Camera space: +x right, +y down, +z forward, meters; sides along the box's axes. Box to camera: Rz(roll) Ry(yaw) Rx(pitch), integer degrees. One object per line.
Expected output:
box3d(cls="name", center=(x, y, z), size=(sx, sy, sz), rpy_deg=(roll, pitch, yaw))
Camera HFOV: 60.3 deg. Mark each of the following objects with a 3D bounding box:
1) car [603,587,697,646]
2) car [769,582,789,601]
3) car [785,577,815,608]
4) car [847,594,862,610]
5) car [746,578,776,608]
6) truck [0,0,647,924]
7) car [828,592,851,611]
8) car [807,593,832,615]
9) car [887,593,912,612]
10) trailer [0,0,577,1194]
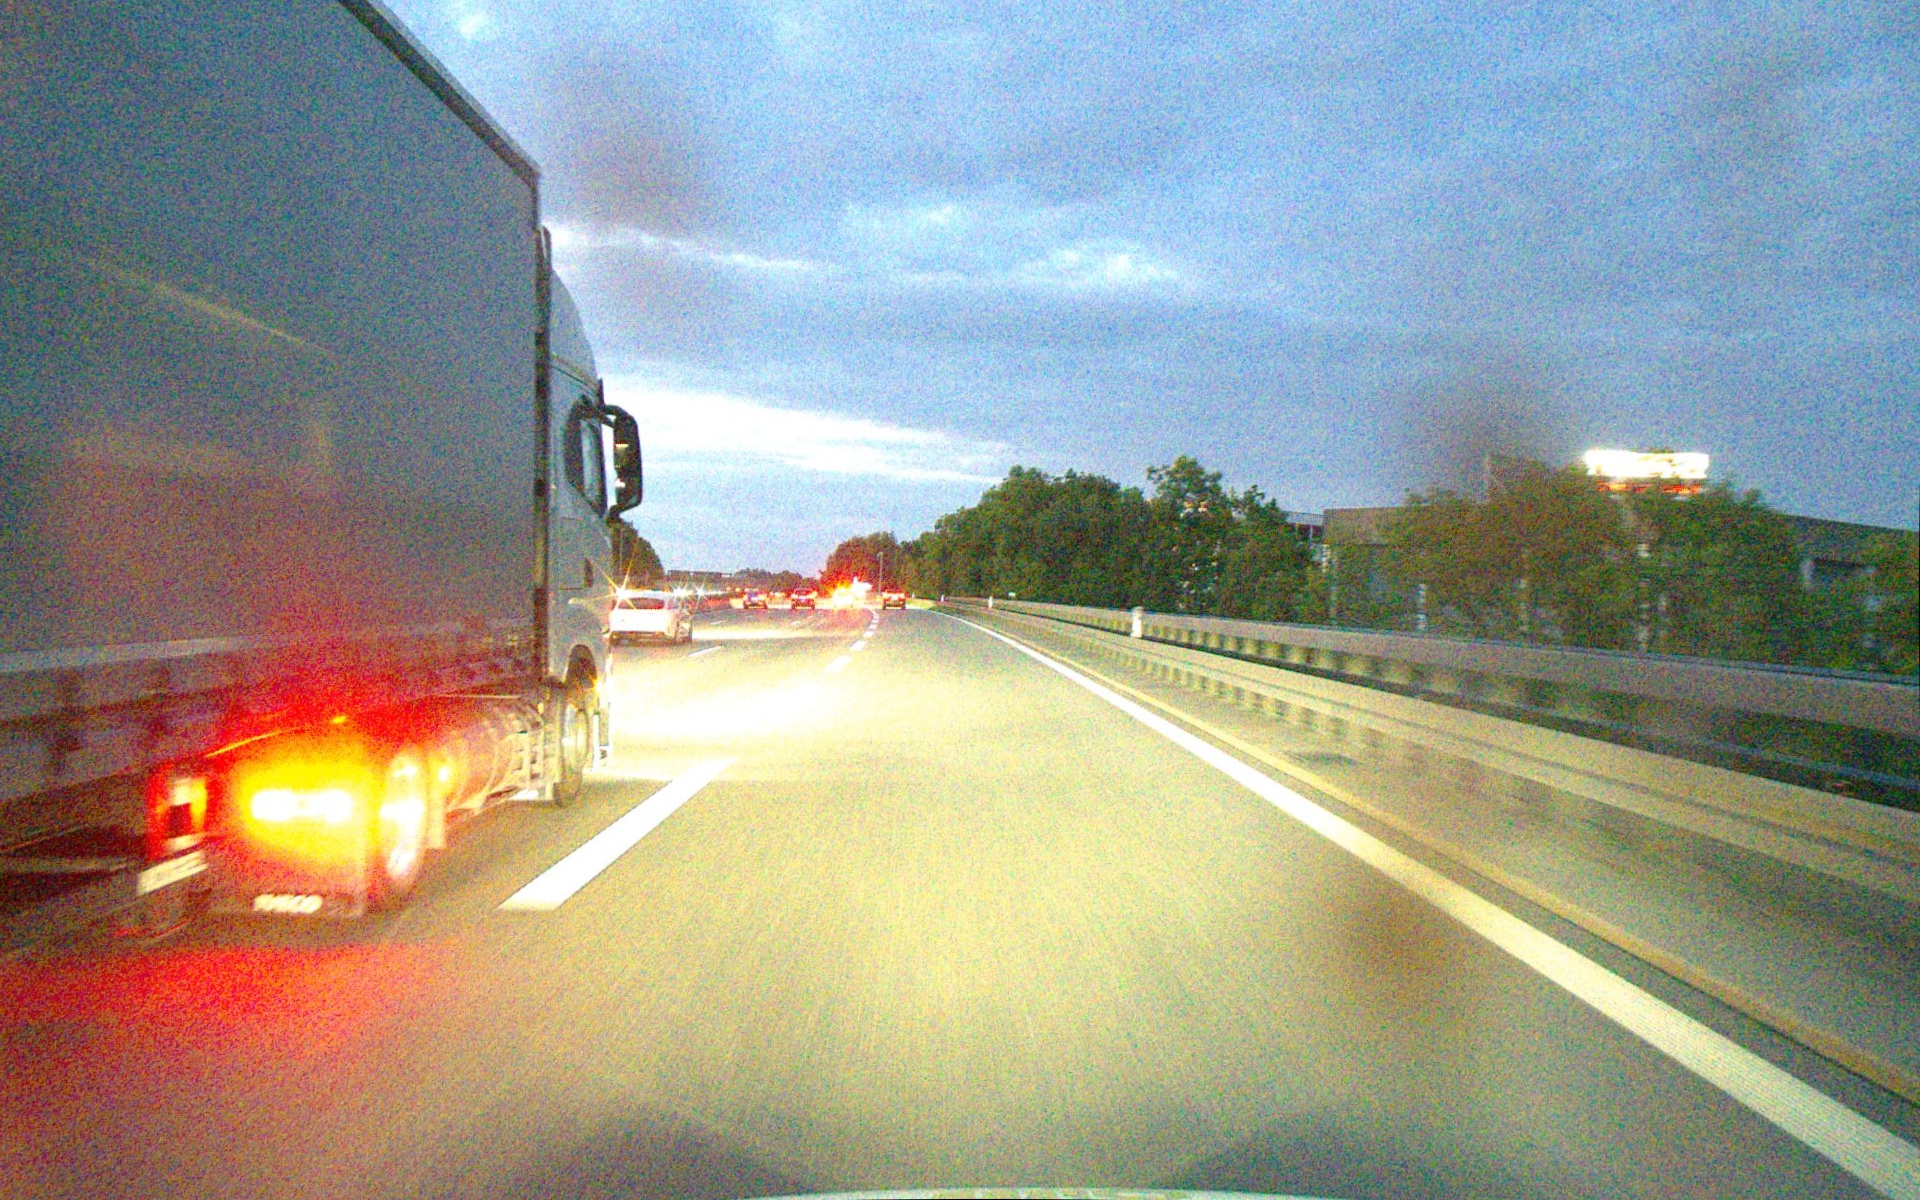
box3d(cls="car", center=(-8.587, 0.444, 46.131), size=(1.861, 1.521, 4.149), rpy_deg=(2, 0, -1))
box3d(cls="car", center=(-21.895, -1.033, 200.093), size=(1.953, 2.049, 3.999), rpy_deg=(2, -3, 0))
box3d(cls="car", center=(-12.445, -0.568, 128.818), size=(1.953, 2.116, 3.998), rpy_deg=(2, -3, -1))
box3d(cls="car", center=(-15.477, 0.280, 242.009), size=(1.953, 2.049, 3.998), rpy_deg=(2, -3, -1))
box3d(cls="car", center=(-15.729, -0.548, 130.897), size=(1.953, 2.083, 3.998), rpy_deg=(2, -3, -1))
box3d(cls="truck", center=(-4.223, -0.681, 10.303), size=(3.479, 4.162, 6.149), rpy_deg=(1, 0, -2))
box3d(cls="car", center=(-10.544, 0.150, 144.908), size=(1.846, 1.378, 3.998), rpy_deg=(2, -3, -1))
box3d(cls="car", center=(-14.296, 0.439, 168.456), size=(1.952, 2.049, 4.000), rpy_deg=(2, -3, 2))
box3d(cls="car", center=(-4.914, 0.215, 134.643), size=(1.953, 1.378, 3.998), rpy_deg=(2, -3, -1))
box3d(cls="trailer", center=(-4.044, -0.652, 3.099), size=(3.478, 4.188, 15.059), rpy_deg=(0, 0, -1))
